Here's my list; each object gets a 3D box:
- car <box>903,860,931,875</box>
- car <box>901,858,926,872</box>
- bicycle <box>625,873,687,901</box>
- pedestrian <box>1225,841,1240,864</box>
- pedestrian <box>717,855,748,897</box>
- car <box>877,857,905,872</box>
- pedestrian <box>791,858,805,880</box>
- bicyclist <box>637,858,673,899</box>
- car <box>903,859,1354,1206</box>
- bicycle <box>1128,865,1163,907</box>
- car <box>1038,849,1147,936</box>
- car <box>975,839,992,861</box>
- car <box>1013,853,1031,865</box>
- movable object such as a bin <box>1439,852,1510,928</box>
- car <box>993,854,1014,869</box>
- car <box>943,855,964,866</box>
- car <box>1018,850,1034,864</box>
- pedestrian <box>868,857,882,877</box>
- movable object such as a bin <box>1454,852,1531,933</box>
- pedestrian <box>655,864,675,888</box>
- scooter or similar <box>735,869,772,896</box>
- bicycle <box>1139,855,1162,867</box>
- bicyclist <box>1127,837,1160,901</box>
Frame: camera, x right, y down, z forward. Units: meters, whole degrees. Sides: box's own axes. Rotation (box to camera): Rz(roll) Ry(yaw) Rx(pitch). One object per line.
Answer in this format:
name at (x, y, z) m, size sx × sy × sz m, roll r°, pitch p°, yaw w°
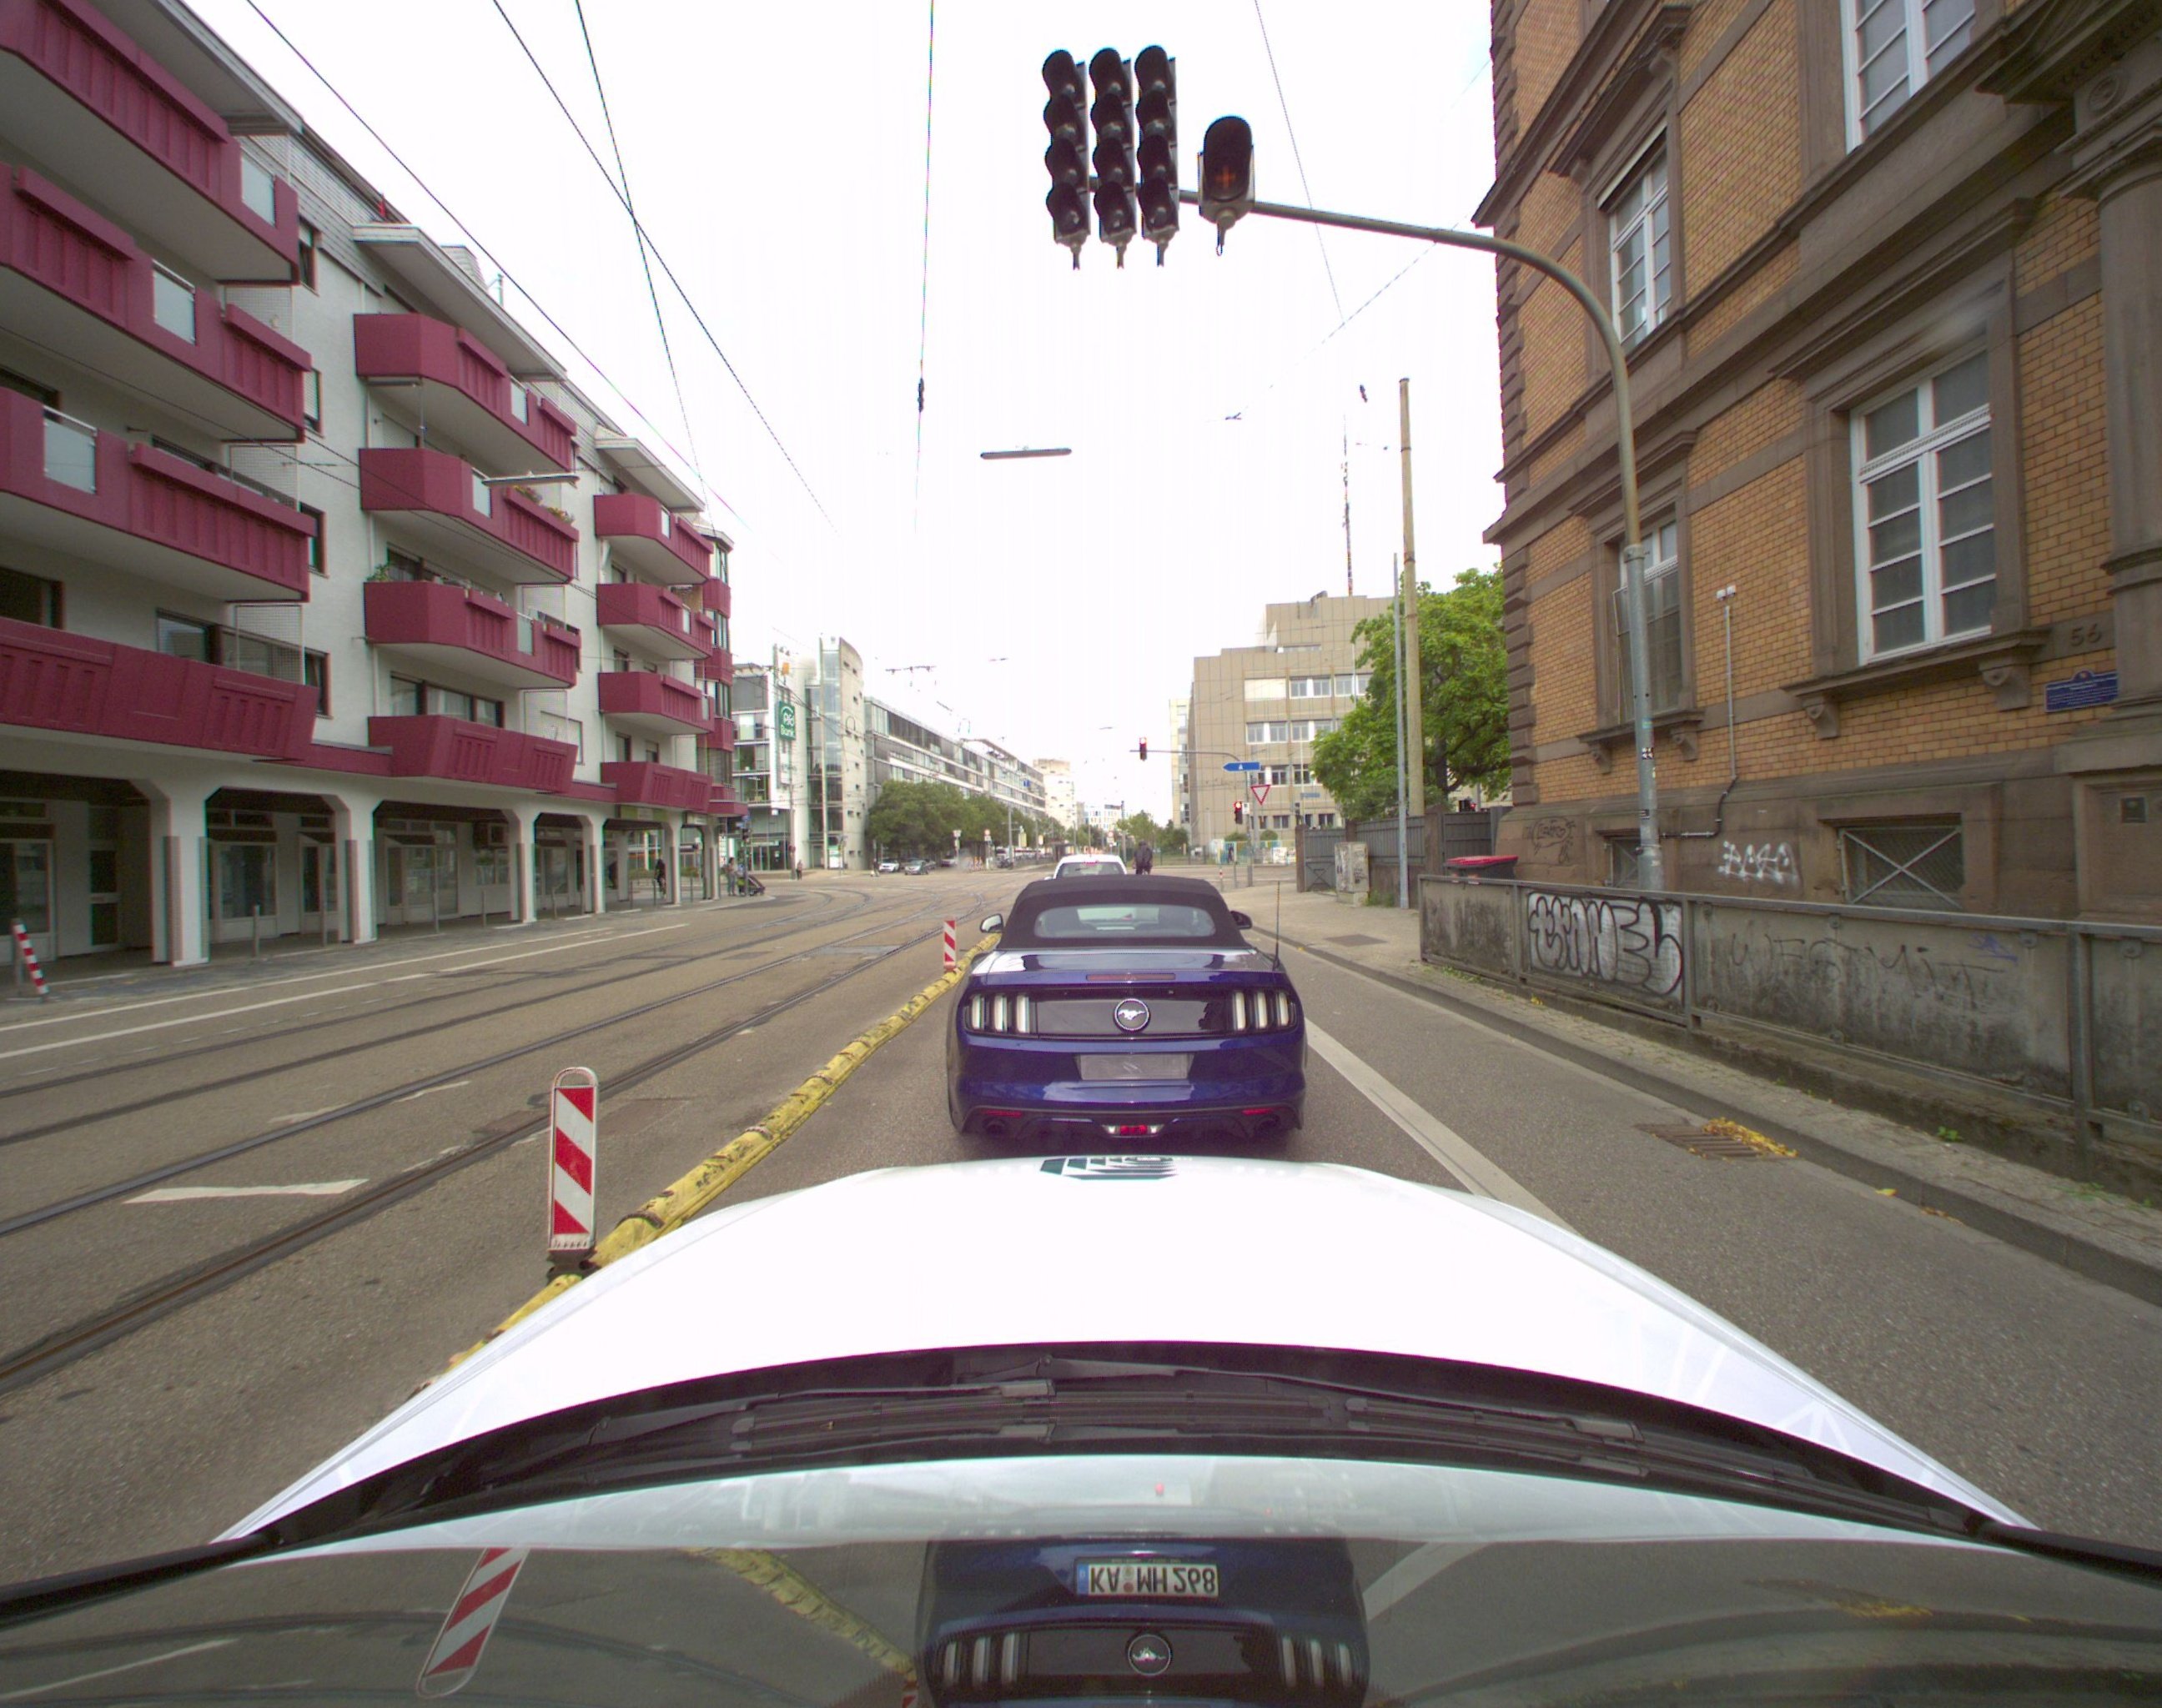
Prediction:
car at (-16.780, 1.361, 83.607) m, size 1.659 × 1.506 × 4.242 m, roll 0°, pitch 0°, yaw 6°
car at (-20.263, 1.316, 98.827) m, size 1.820 × 1.556 × 4.223 m, roll 0°, pitch 0°, yaw 6°
bicycle at (-17.697, 1.373, 33.926) m, size 2.336 × 1.086 × 0.768 m, roll -2°, pitch 0°, yaw 15°
pedestrian at (12.758, -0.100, 68.661) m, size 1.080 × 1.898 × 0.904 m, roll -2°, pitch 0°, yaw 7°
pedestrian at (-15.232, 0.952, 35.634) m, size 0.945 × 1.743 × 0.811 m, roll -2°, pitch 0°, yaw -2°
car at (-21.318, 1.189, 91.618) m, size 1.820 × 1.556 × 4.223 m, roll 0°, pitch 0°, yaw 6°
pedestrian at (-25.336, 1.354, 73.005) m, size 0.828 × 1.865 × 0.769 m, roll -2°, pitch 0°, yaw 14°
bicyclist at (-17.755, 1.018, 33.933) m, size 1.044 × 1.651 × 0.755 m, roll -2°, pitch 0°, yaw 15°
car at (0.275, 0.763, 5.545) m, size 1.869 × 1.404 × 4.284 m, roll 0°, pitch 0°, yaw 2°
bicycle at (1.823, 0.899, 23.374) m, size 0.798 × 1.086 × 2.131 m, roll -2°, pitch 0°, yaw 0°
car at (0.120, 0.666, 16.209) m, size 1.831 × 1.439 × 4.183 m, roll -2°, pitch 0°, yaw -2°
car at (-16.219, -0.635, 135.978) m, size 1.978 × 3.636 × 4.516 m, roll 0°, pitch 0°, yaw 3°
car at (-8.016, 0.692, 111.180) m, size 1.861 × 1.605 × 4.214 m, roll -2°, pitch 0°, yaw 2°
movable object such as a bin at (6.045, 0.538, 12.549) m, size 0.649 × 1.082 × 0.677 m, roll -5°, pitch -1°, yaw -4°
car at (-9.279, 0.898, 97.665) m, size 1.872 × 1.628 × 4.089 m, roll -2°, pitch 0°, yaw 2°
car at (-18.304, 0.960, 116.991) m, size 1.978 × 1.556 × 4.516 m, roll 0°, pitch 0°, yaw 3°
car at (-7.840, 0.397, 116.348) m, size 1.778 × 1.987 × 4.123 m, roll -2°, pitch 0°, yaw 2°
pedestrian at (-19.690, 1.233, 77.821) m, size 0.983 × 1.855 × 0.904 m, roll -2°, pitch 0°, yaw 8°
movable object such as a bin at (5.963, 0.541, 11.835) m, size 0.662 × 1.082 × 0.700 m, roll -5°, pitch -1°, yaw -3°
pedestrian at (-29.215, 1.540, 57.231) m, size 0.928 × 1.671 × 0.769 m, roll -2°, pitch 0°, yaw 14°
scooter or similar at (-14.339, 1.246, 35.685) m, size 1.192 × 1.128 × 0.946 m, roll -1°, pitch 0°, yaw -1°
bicycle at (6.185, 0.635, 72.743) m, size 0.637 × 0.981 × 2.133 m, roll -2°, pitch -2°, yaw -40°
bicyclist at (1.805, 0.414, 23.547) m, size 0.793 × 1.785 × 1.233 m, roll -2°, pitch 0°, yaw 0°
